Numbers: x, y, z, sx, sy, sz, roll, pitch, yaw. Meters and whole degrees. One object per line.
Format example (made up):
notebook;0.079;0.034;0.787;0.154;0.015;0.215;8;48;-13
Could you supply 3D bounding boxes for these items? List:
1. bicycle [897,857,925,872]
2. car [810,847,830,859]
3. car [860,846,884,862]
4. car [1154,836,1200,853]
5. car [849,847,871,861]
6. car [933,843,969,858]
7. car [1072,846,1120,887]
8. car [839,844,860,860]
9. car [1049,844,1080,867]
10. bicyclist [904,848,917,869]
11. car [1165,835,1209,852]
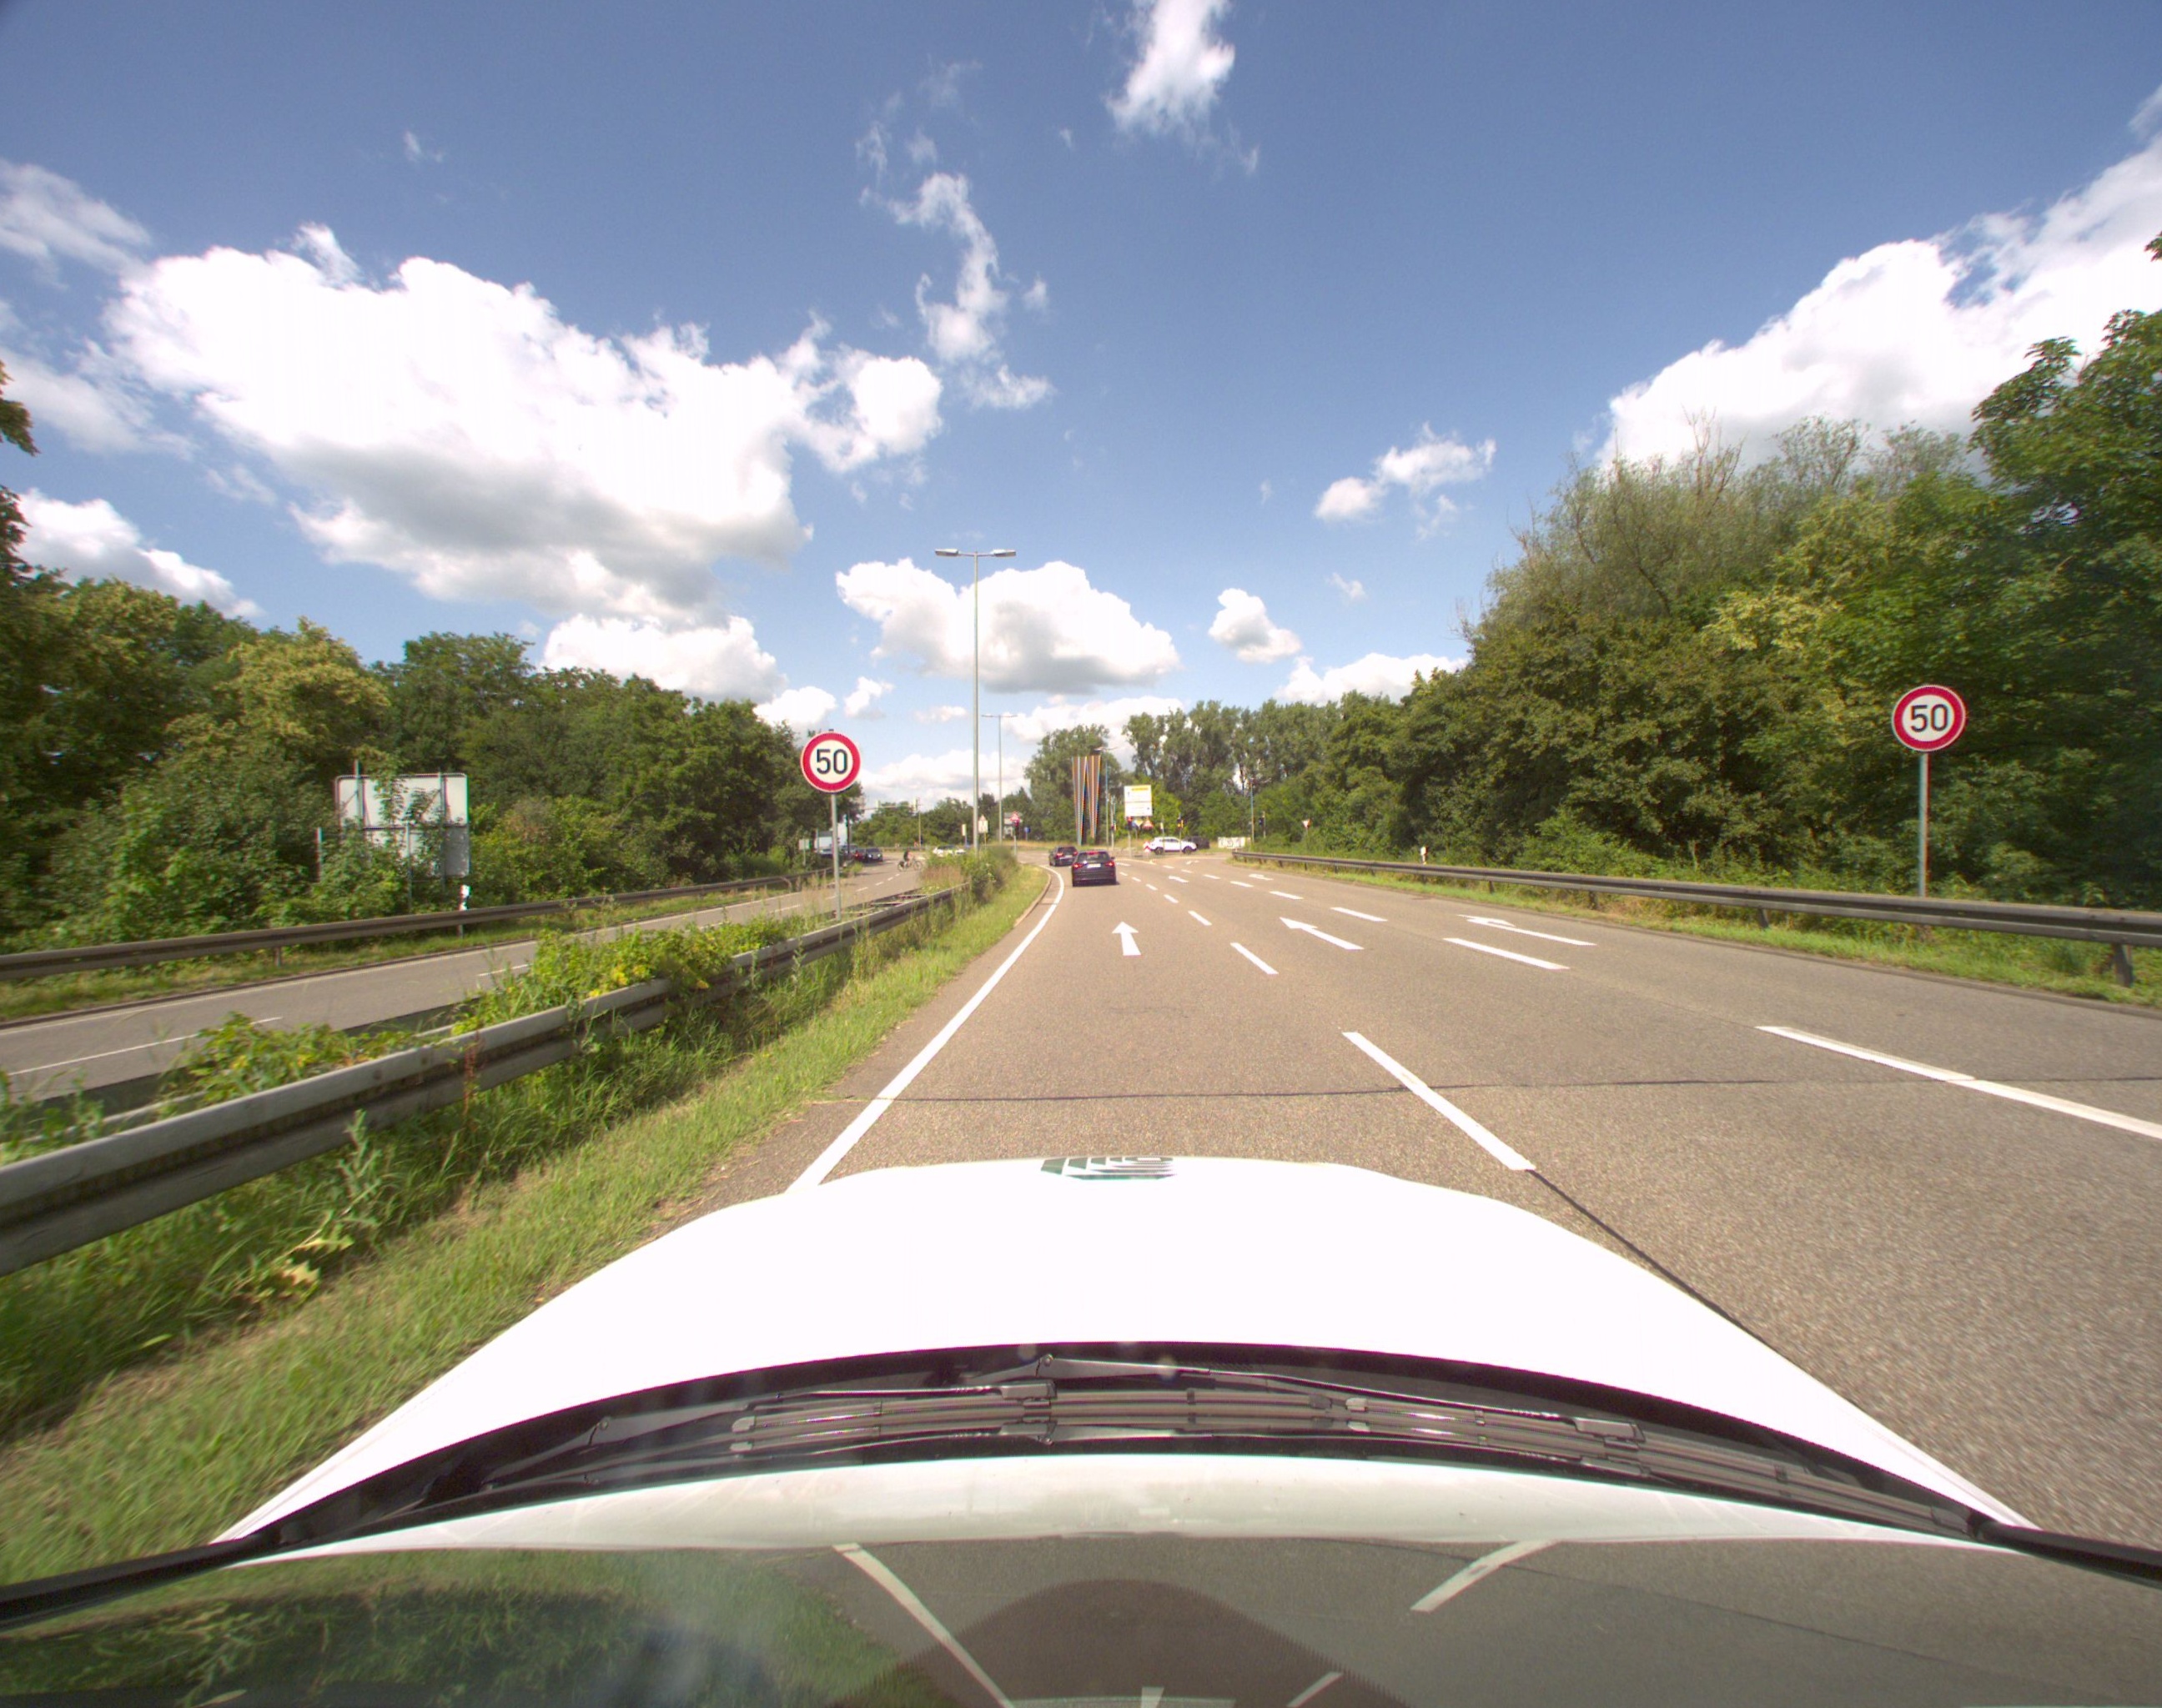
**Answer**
bicycle;-12.870;0.800;61.705;2.055;1.023;0.669;-2;0;-14
car;-36.552;-0.132;114.090;1.855;1.705;4.285;-3;1;-29
car;-22.406;0.020;87.175;1.848;1.618;3.967;-3;0;-24
car;8.755;-0.846;74.789;4.010;1.509;1.957;0;-1;1
car;-25.665;-0.034;94.496;1.740;1.476;4.014;-3;1;-25
car;-12.915;-0.387;80.685;1.746;1.476;3.999;-1;1;-40
car;0.557;0.474;32.912;1.721;1.404;3.999;-3;1;-1
car;-28.616;-0.275;100.603;1.852;1.801;4.291;-3;1;-25
car;-1.203;0.064;58.263;1.725;1.423;3.834;-4;1;-8
bicyclist;-12.924;0.335;61.692;0.835;1.560;0.669;-2;0;-14
car;10.877;-1.109;83.827;4.261;1.545;1.734;-2;1;-5
